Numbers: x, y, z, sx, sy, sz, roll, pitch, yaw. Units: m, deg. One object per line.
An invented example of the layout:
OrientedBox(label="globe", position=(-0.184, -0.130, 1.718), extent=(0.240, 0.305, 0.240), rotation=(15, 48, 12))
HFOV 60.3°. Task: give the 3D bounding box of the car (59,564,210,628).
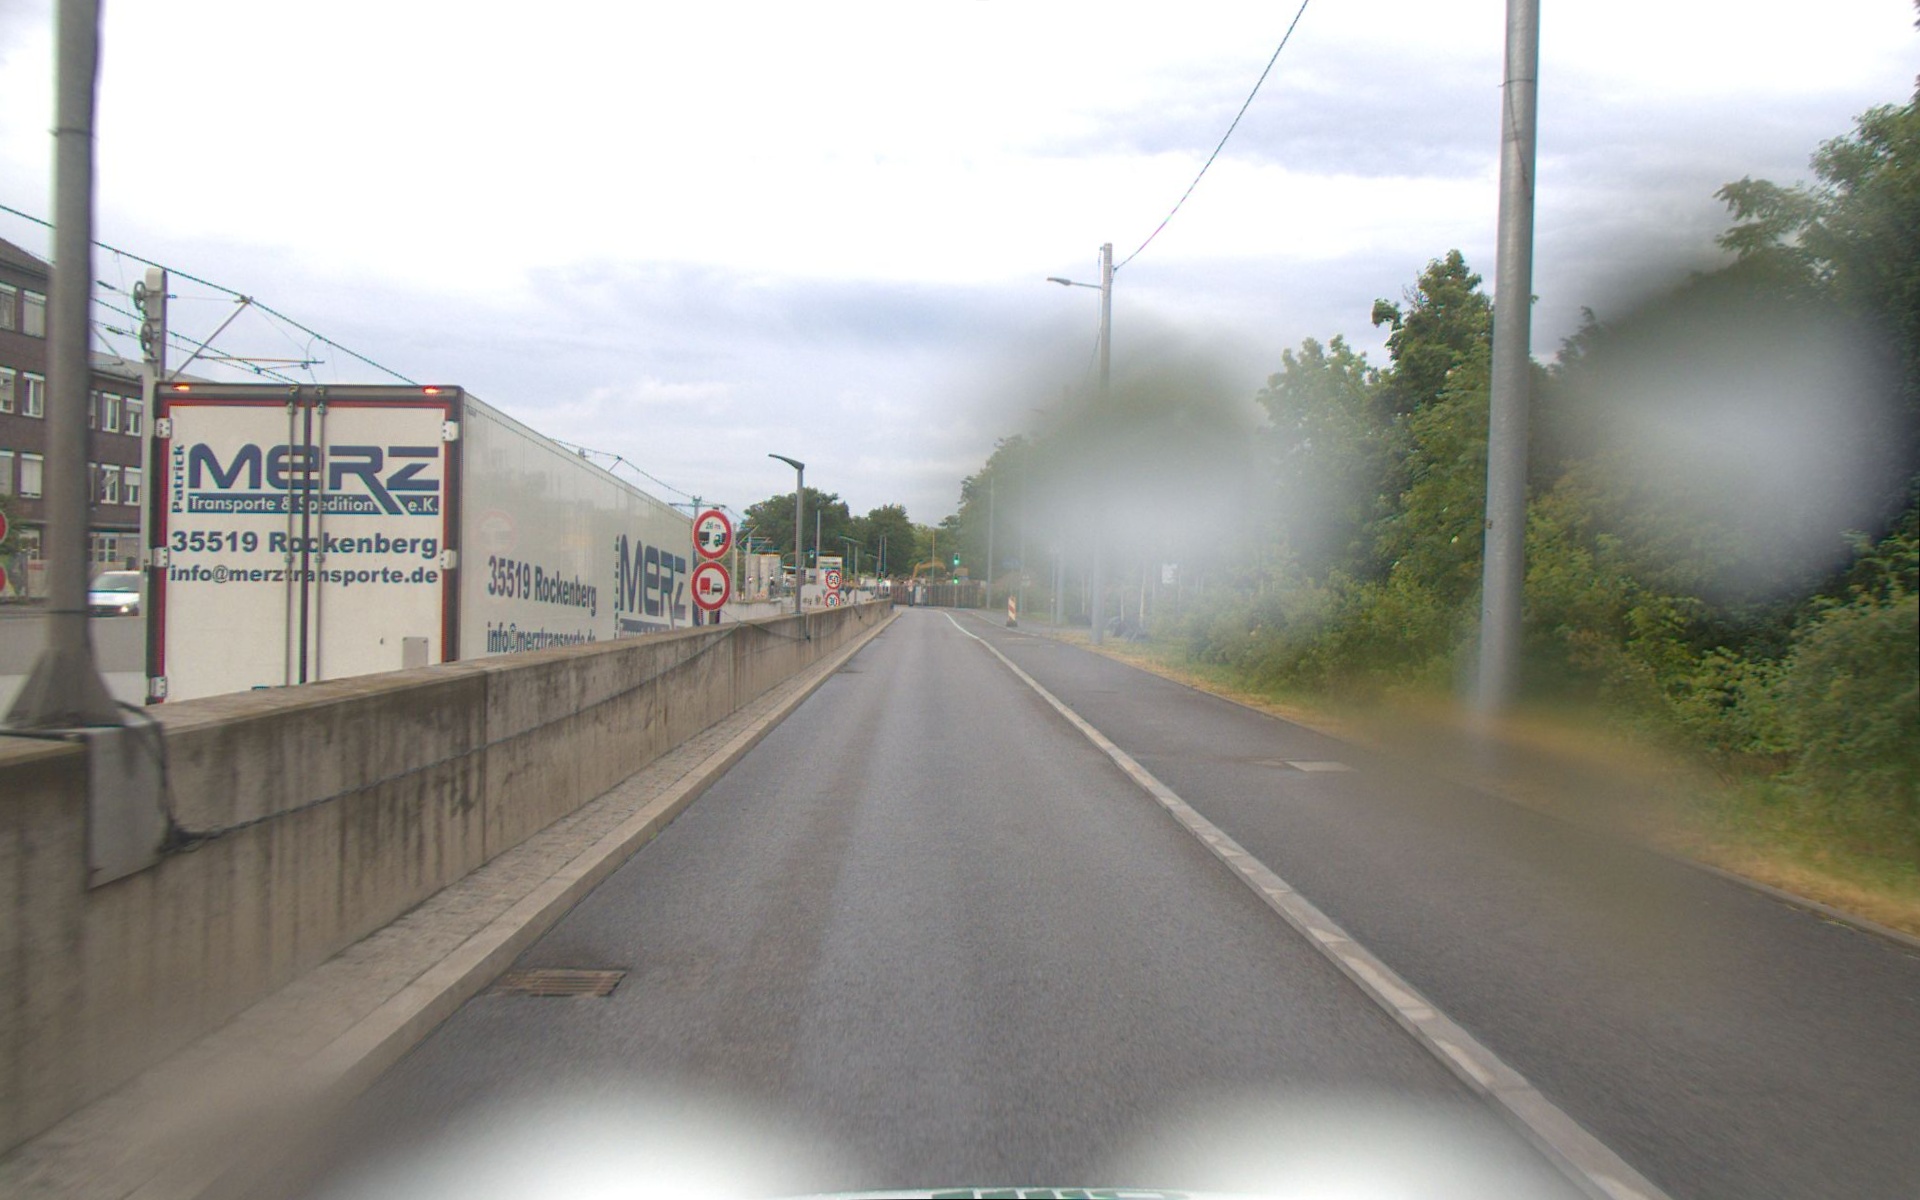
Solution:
OrientedBox(label="car", position=(-23.824, -0.115, 47.974), extent=(1.960, 1.725, 5.033), rotation=(1, 0, -2))

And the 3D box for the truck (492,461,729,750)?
OrientedBox(label="truck", position=(-5.641, 0.059, 27.793), extent=(2.700, 4.278, 6.305), rotation=(0, 0, -1))

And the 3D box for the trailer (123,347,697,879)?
OrientedBox(label="trailer", position=(-5.533, 0.061, 20.097), extent=(2.706, 4.327, 13.181), rotation=(0, 0, -1))
